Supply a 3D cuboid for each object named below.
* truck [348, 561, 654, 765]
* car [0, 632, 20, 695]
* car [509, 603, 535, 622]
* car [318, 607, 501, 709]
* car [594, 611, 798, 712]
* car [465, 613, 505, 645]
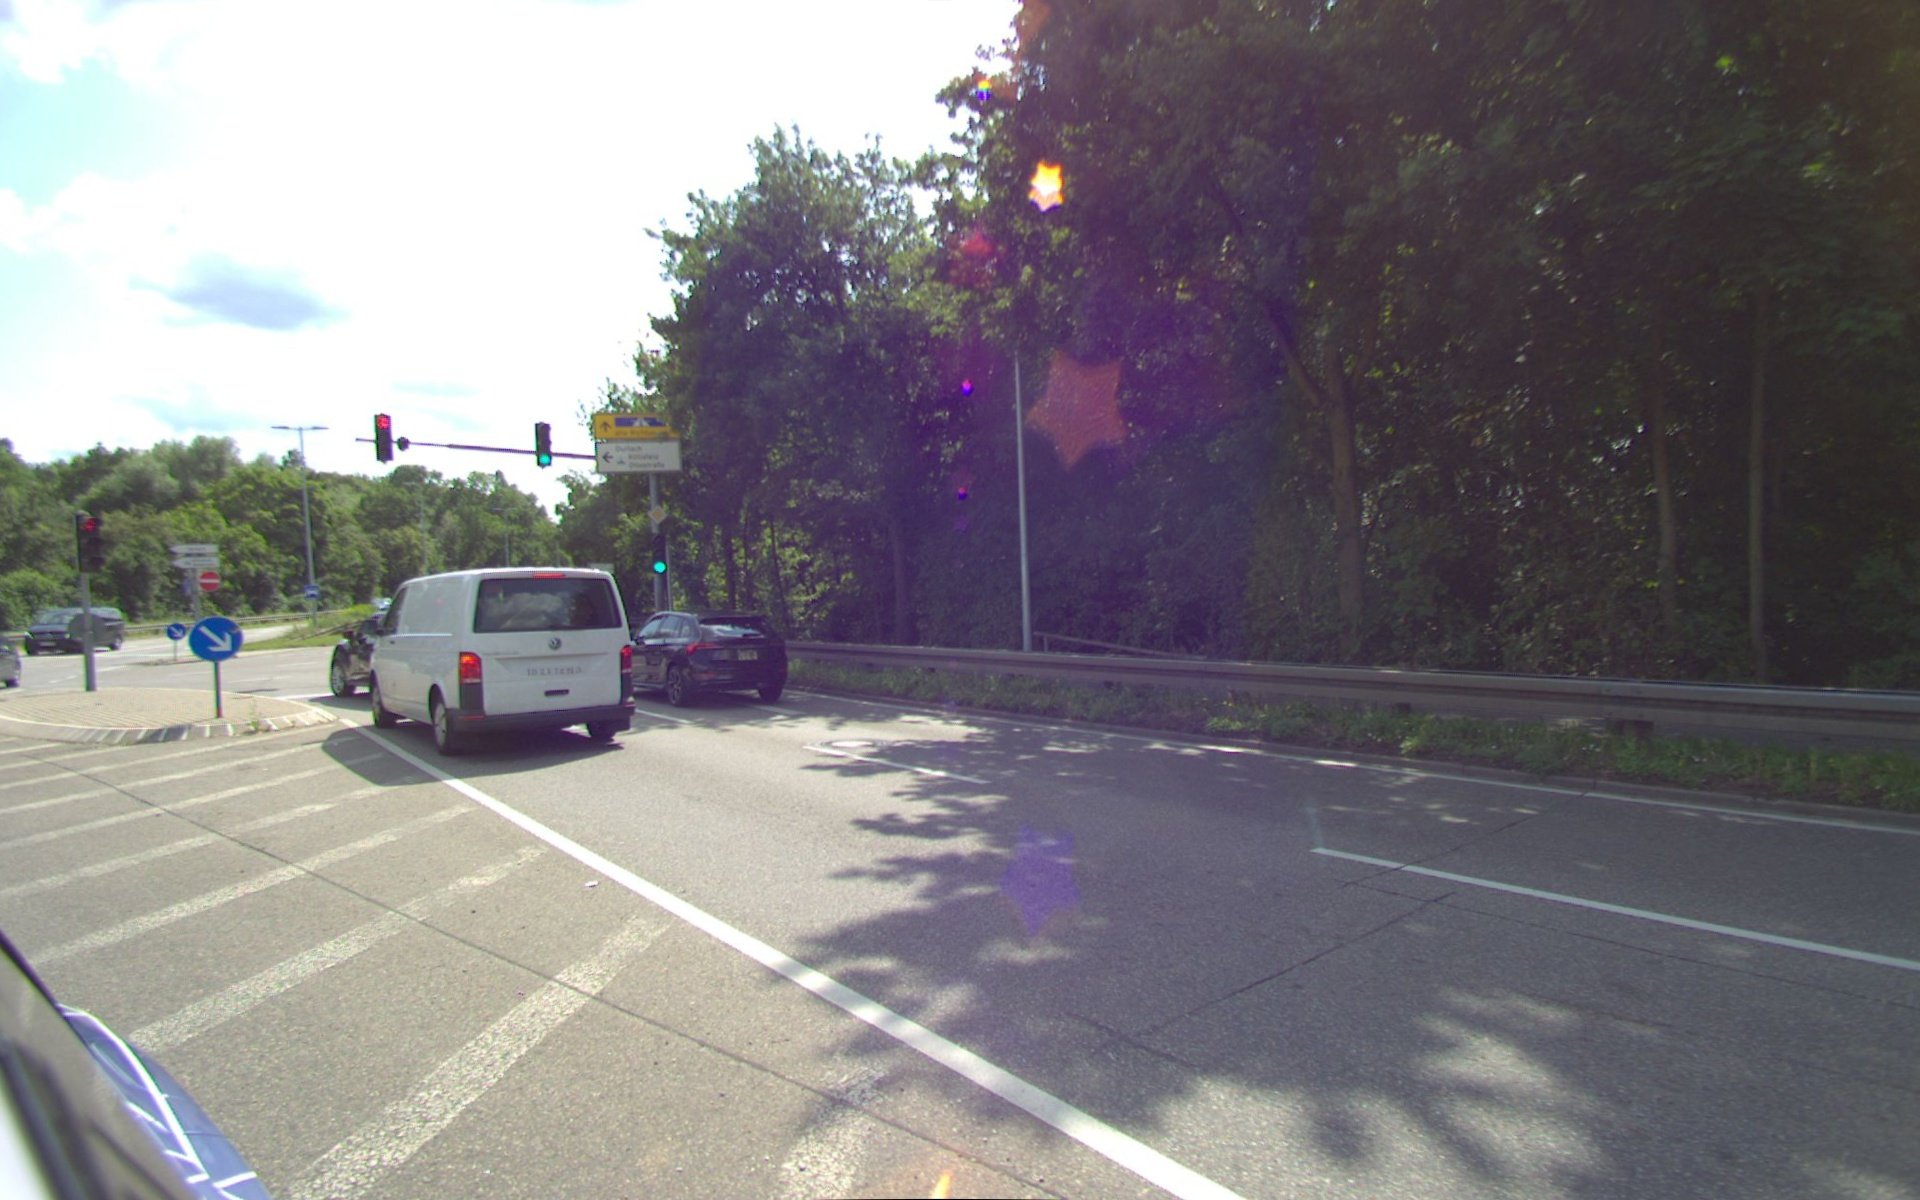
[{"bbox_3d":[-5.773,0.619,12.254,1.936,1.927,5.378,-2,0,-40],"label":"truck"},{"bbox_3d":[-22.787,1.497,22.747,1.829,1.421,4.010,-2,1,-35],"label":"car"},{"bbox_3d":[-37.310,1.069,86.210,1.708,1.532,4.081,0,0,-19],"label":"car"},{"bbox_3d":[-9.831,0.962,17.958,3.821,1.569,1.680,-2,0,42],"label":"car"},{"bbox_3d":[-4.441,0.911,16.553,1.614,1.420,4.346,0,-1,-39],"label":"car"},{"bbox_3d":[-22.912,1.356,48.775,1.658,1.489,4.728,0,-1,-26],"label":"car"}]
